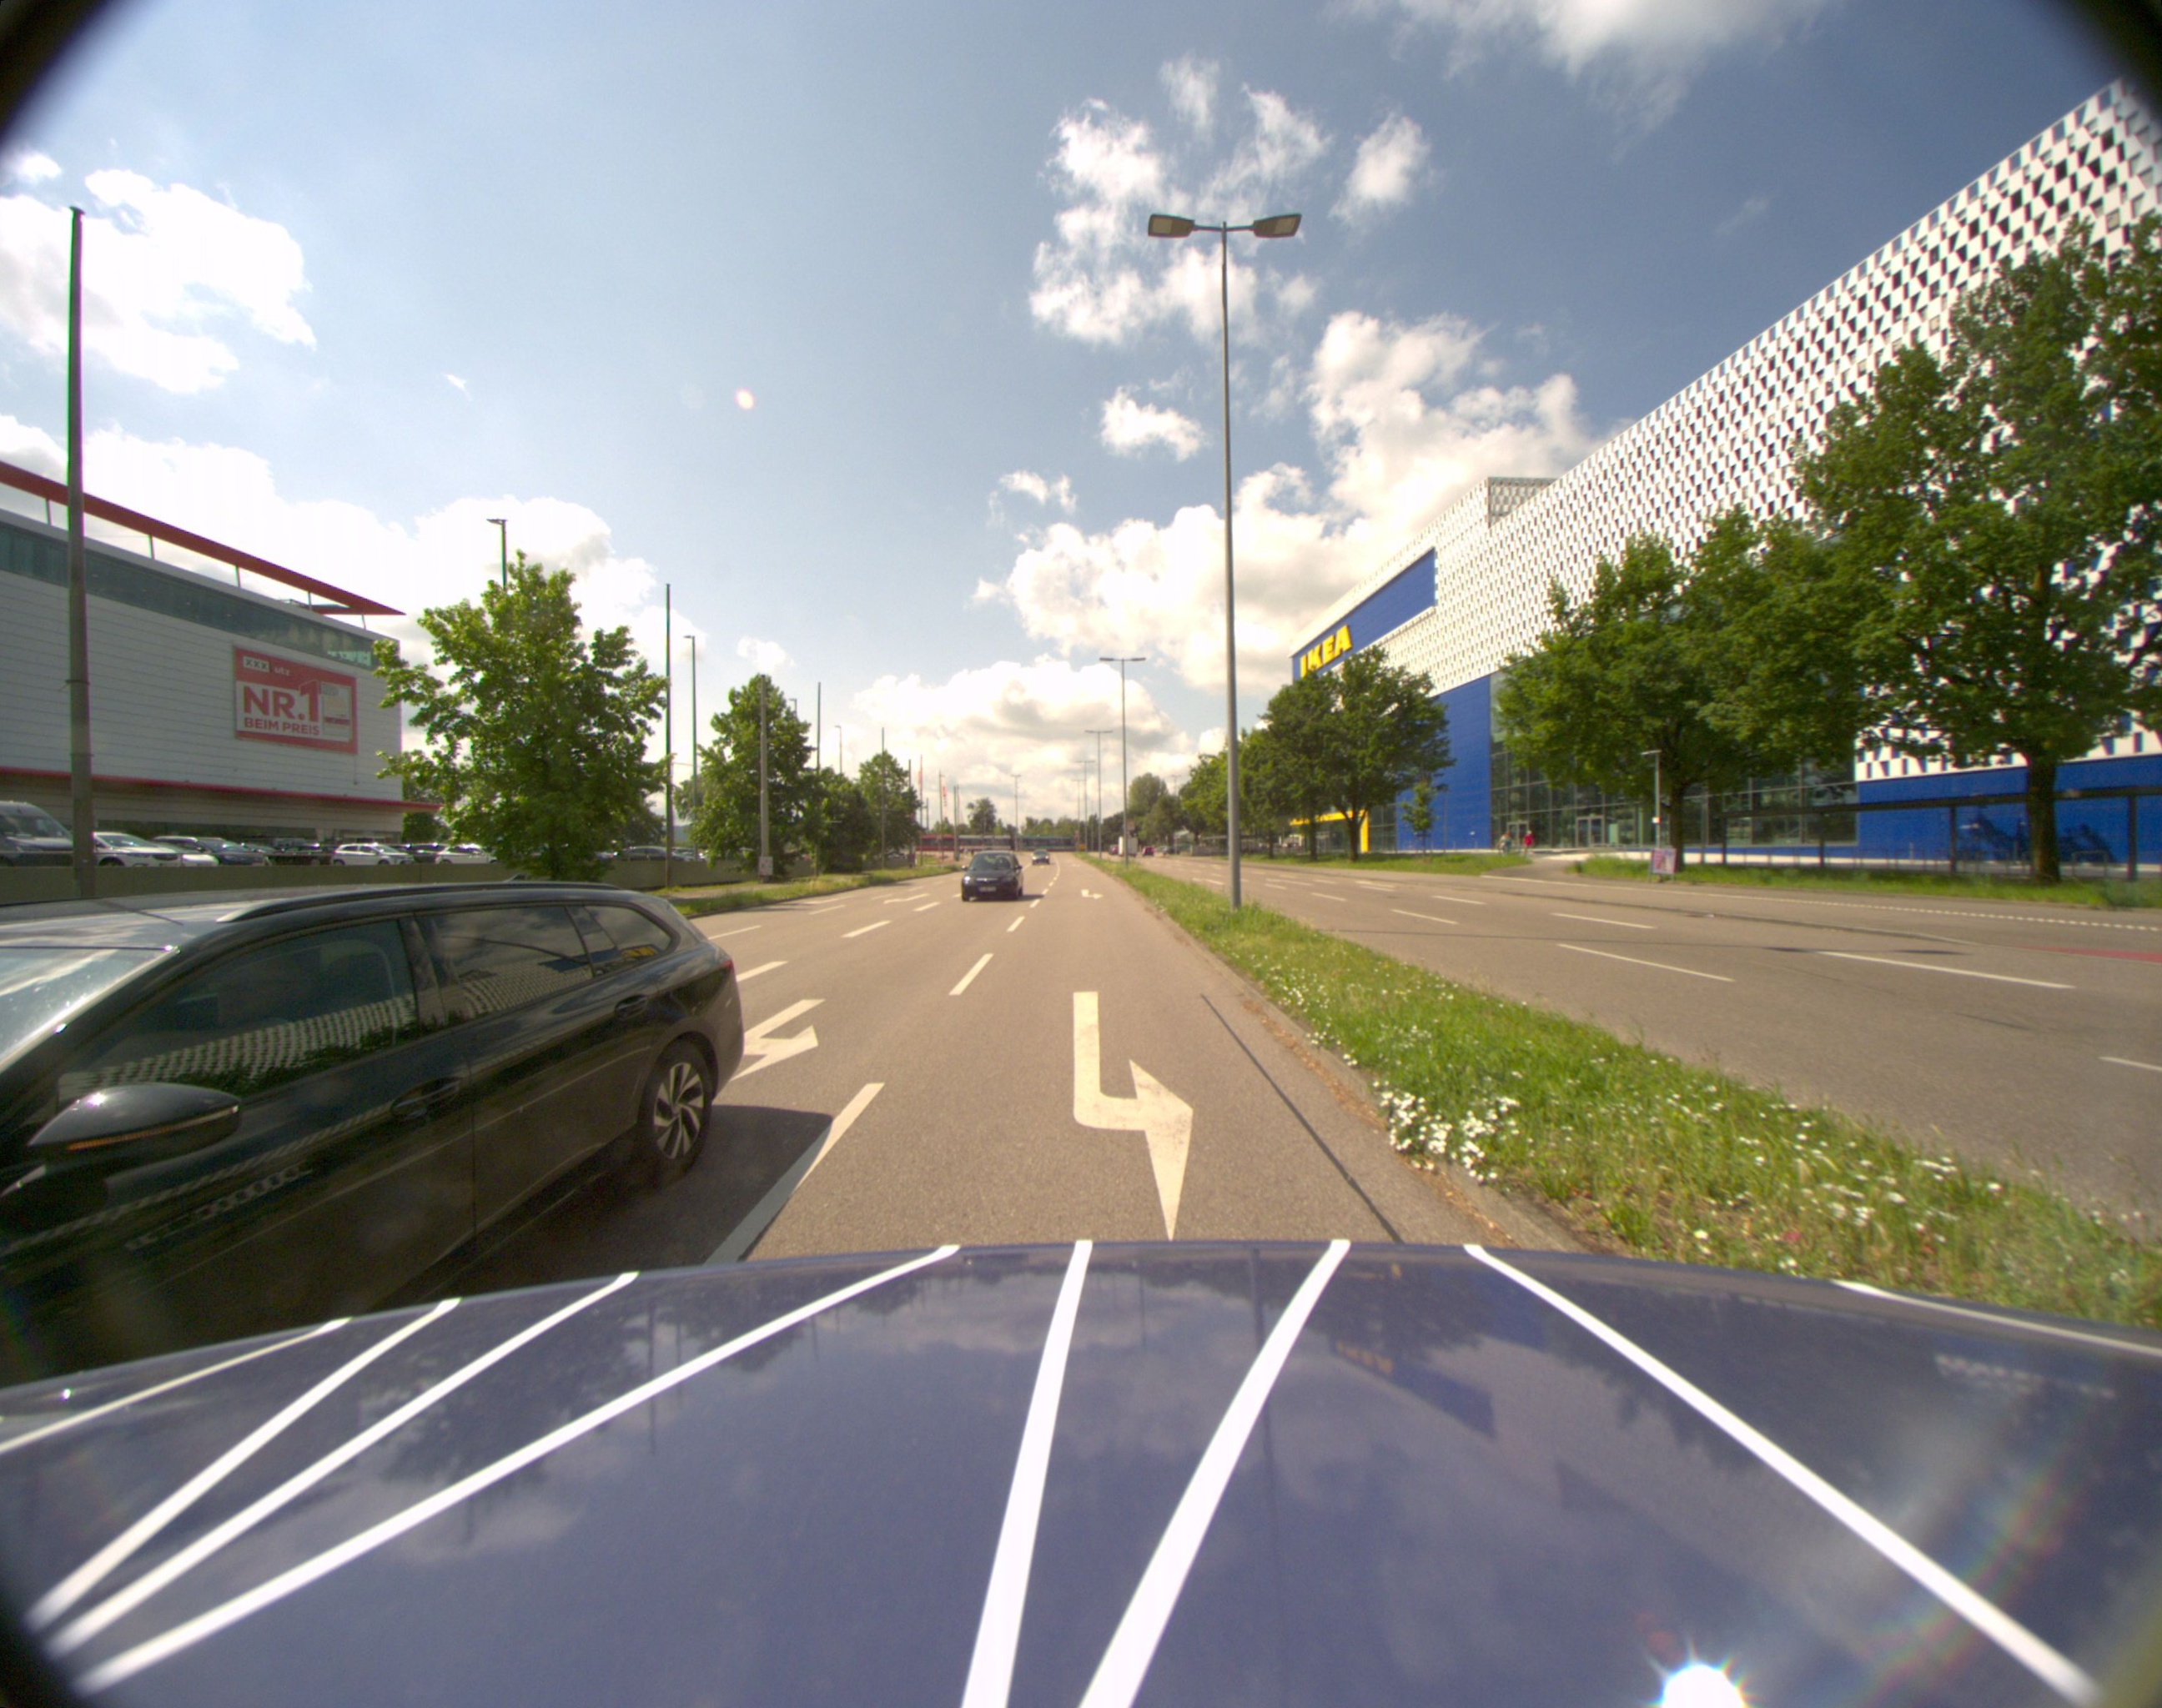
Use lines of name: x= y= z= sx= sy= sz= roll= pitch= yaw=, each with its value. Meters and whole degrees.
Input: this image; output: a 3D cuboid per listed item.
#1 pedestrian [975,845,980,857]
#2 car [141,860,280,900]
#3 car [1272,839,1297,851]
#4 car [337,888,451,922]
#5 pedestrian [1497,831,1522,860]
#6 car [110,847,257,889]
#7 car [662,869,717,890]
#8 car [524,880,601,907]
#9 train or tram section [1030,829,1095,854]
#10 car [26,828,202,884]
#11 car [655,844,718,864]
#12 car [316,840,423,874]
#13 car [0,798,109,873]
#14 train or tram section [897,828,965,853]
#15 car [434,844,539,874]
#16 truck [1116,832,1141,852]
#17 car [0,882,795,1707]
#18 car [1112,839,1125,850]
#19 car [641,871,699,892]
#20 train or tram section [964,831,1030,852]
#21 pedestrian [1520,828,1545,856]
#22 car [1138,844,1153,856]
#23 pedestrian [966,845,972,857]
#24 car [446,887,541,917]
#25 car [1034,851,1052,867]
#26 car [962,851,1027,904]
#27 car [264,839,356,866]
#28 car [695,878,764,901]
pedestrian: x=-15.414 y=-0.454 z=113.381 sx=0.527 sy=1.803 sz=0.676 roll=-3 pitch=2 yaw=-15
car: x=-39.334 y=1.149 z=34.377 sx=4.417 sy=1.596 sz=1.956 roll=-1 pitch=1 yaw=8
car: x=38.211 y=-1.687 z=142.810 sx=3.998 sy=2.002 sz=1.999 roll=-2 pitch=2 yaw=-2
car: x=-37.285 y=2.764 z=41.321 sx=4.419 sy=1.596 sz=1.955 roll=-2 pitch=1 yaw=3
pedestrian: x=26.389 y=-0.528 z=46.806 sx=0.854 sy=1.718 sz=1.164 roll=-2 pitch=2 yaw=3
car: x=-38.529 y=0.587 z=32.683 sx=4.417 sy=1.596 sz=1.956 roll=-1 pitch=1 yaw=8
car: x=-38.249 y=2.489 z=74.325 sx=4.421 sy=1.754 sz=1.559 roll=-2 pitch=2 yaw=-3
car: x=-38.176 y=2.901 z=56.025 sx=4.421 sy=1.754 sz=1.559 roll=-2 pitch=2 yaw=-3
train or tram section: x=-3.789 y=-2.546 z=155.791 sx=13.099 sy=4.646 sz=3.730 roll=-2 pitch=2 yaw=-2
car: x=-34.654 y=0.057 z=27.312 sx=3.997 sy=1.784 sz=1.749 roll=-2 pitch=2 yaw=1
car: x=-34.470 y=-0.032 z=66.519 sx=4.420 sy=1.596 sz=1.954 roll=-2 pitch=1 yaw=-1
car: x=-40.894 y=0.150 z=43.738 sx=4.421 sy=1.754 sz=1.559 roll=-2 pitch=2 yaw=-3
car: x=-35.205 y=-0.505 z=24.183 sx=5.796 sy=2.270 sz=1.748 roll=-2 pitch=2 yaw=-3
train or tram section: x=-30.445 y=-2.770 z=154.721 sx=13.099 sy=4.535 sz=3.730 roll=-2 pitch=2 yaw=-2
car: x=-34.272 y=0.258 z=43.914 sx=4.420 sy=1.596 sz=1.954 roll=-2 pitch=1 yaw=-1
truck: x=6.780 y=-1.722 z=108.462 sx=2.972 sy=2.736 sz=5.782 roll=-2 pitch=2 yaw=-2
car: x=-2.762 y=0.978 z=2.259 sx=1.813 sy=1.469 sz=5.203 roll=-2 pitch=1 yaw=0
car: x=5.985 y=-1.500 z=121.359 sx=1.941 sy=1.674 sz=3.999 roll=-2 pitch=2 yaw=1
car: x=-38.076 y=2.538 z=70.418 sx=4.421 sy=1.754 sz=1.559 roll=-2 pitch=2 yaw=-3
train or tram section: x=-16.983 y=-2.575 z=155.151 sx=13.099 sy=4.346 sz=3.730 roll=0 pitch=2 yaw=-2
pedestrian: x=27.607 y=-0.740 z=46.487 sx=0.854 sy=1.718 sz=1.164 roll=-2 pitch=2 yaw=3
car: x=9.800 y=-0.618 z=115.952 sx=1.941 sy=1.674 sz=3.999 roll=-2 pitch=2 yaw=1
pedestrian: x=-16.676 y=-0.402 z=113.203 sx=0.705 sy=1.803 sz=0.544 roll=-3 pitch=2 yaw=-22
car: x=-37.639 y=3.055 z=48.771 sx=4.421 sy=1.596 sz=1.954 roll=-2 pitch=1 yaw=-2
car: x=-3.759 y=0.463 z=76.197 sx=1.606 sy=1.521 sz=4.269 roll=-1 pitch=0 yaw=0
car: x=-2.686 y=0.672 z=24.395 sx=1.606 sy=1.521 sz=4.269 roll=-1 pitch=0 yaw=0
car: x=-49.520 y=-0.088 z=48.851 sx=4.416 sy=1.596 sz=1.956 roll=-1 pitch=1 yaw=11
car: x=-27.639 y=2.790 z=59.852 sx=4.420 sy=1.596 sz=1.954 roll=-2 pitch=1 yaw=-1
